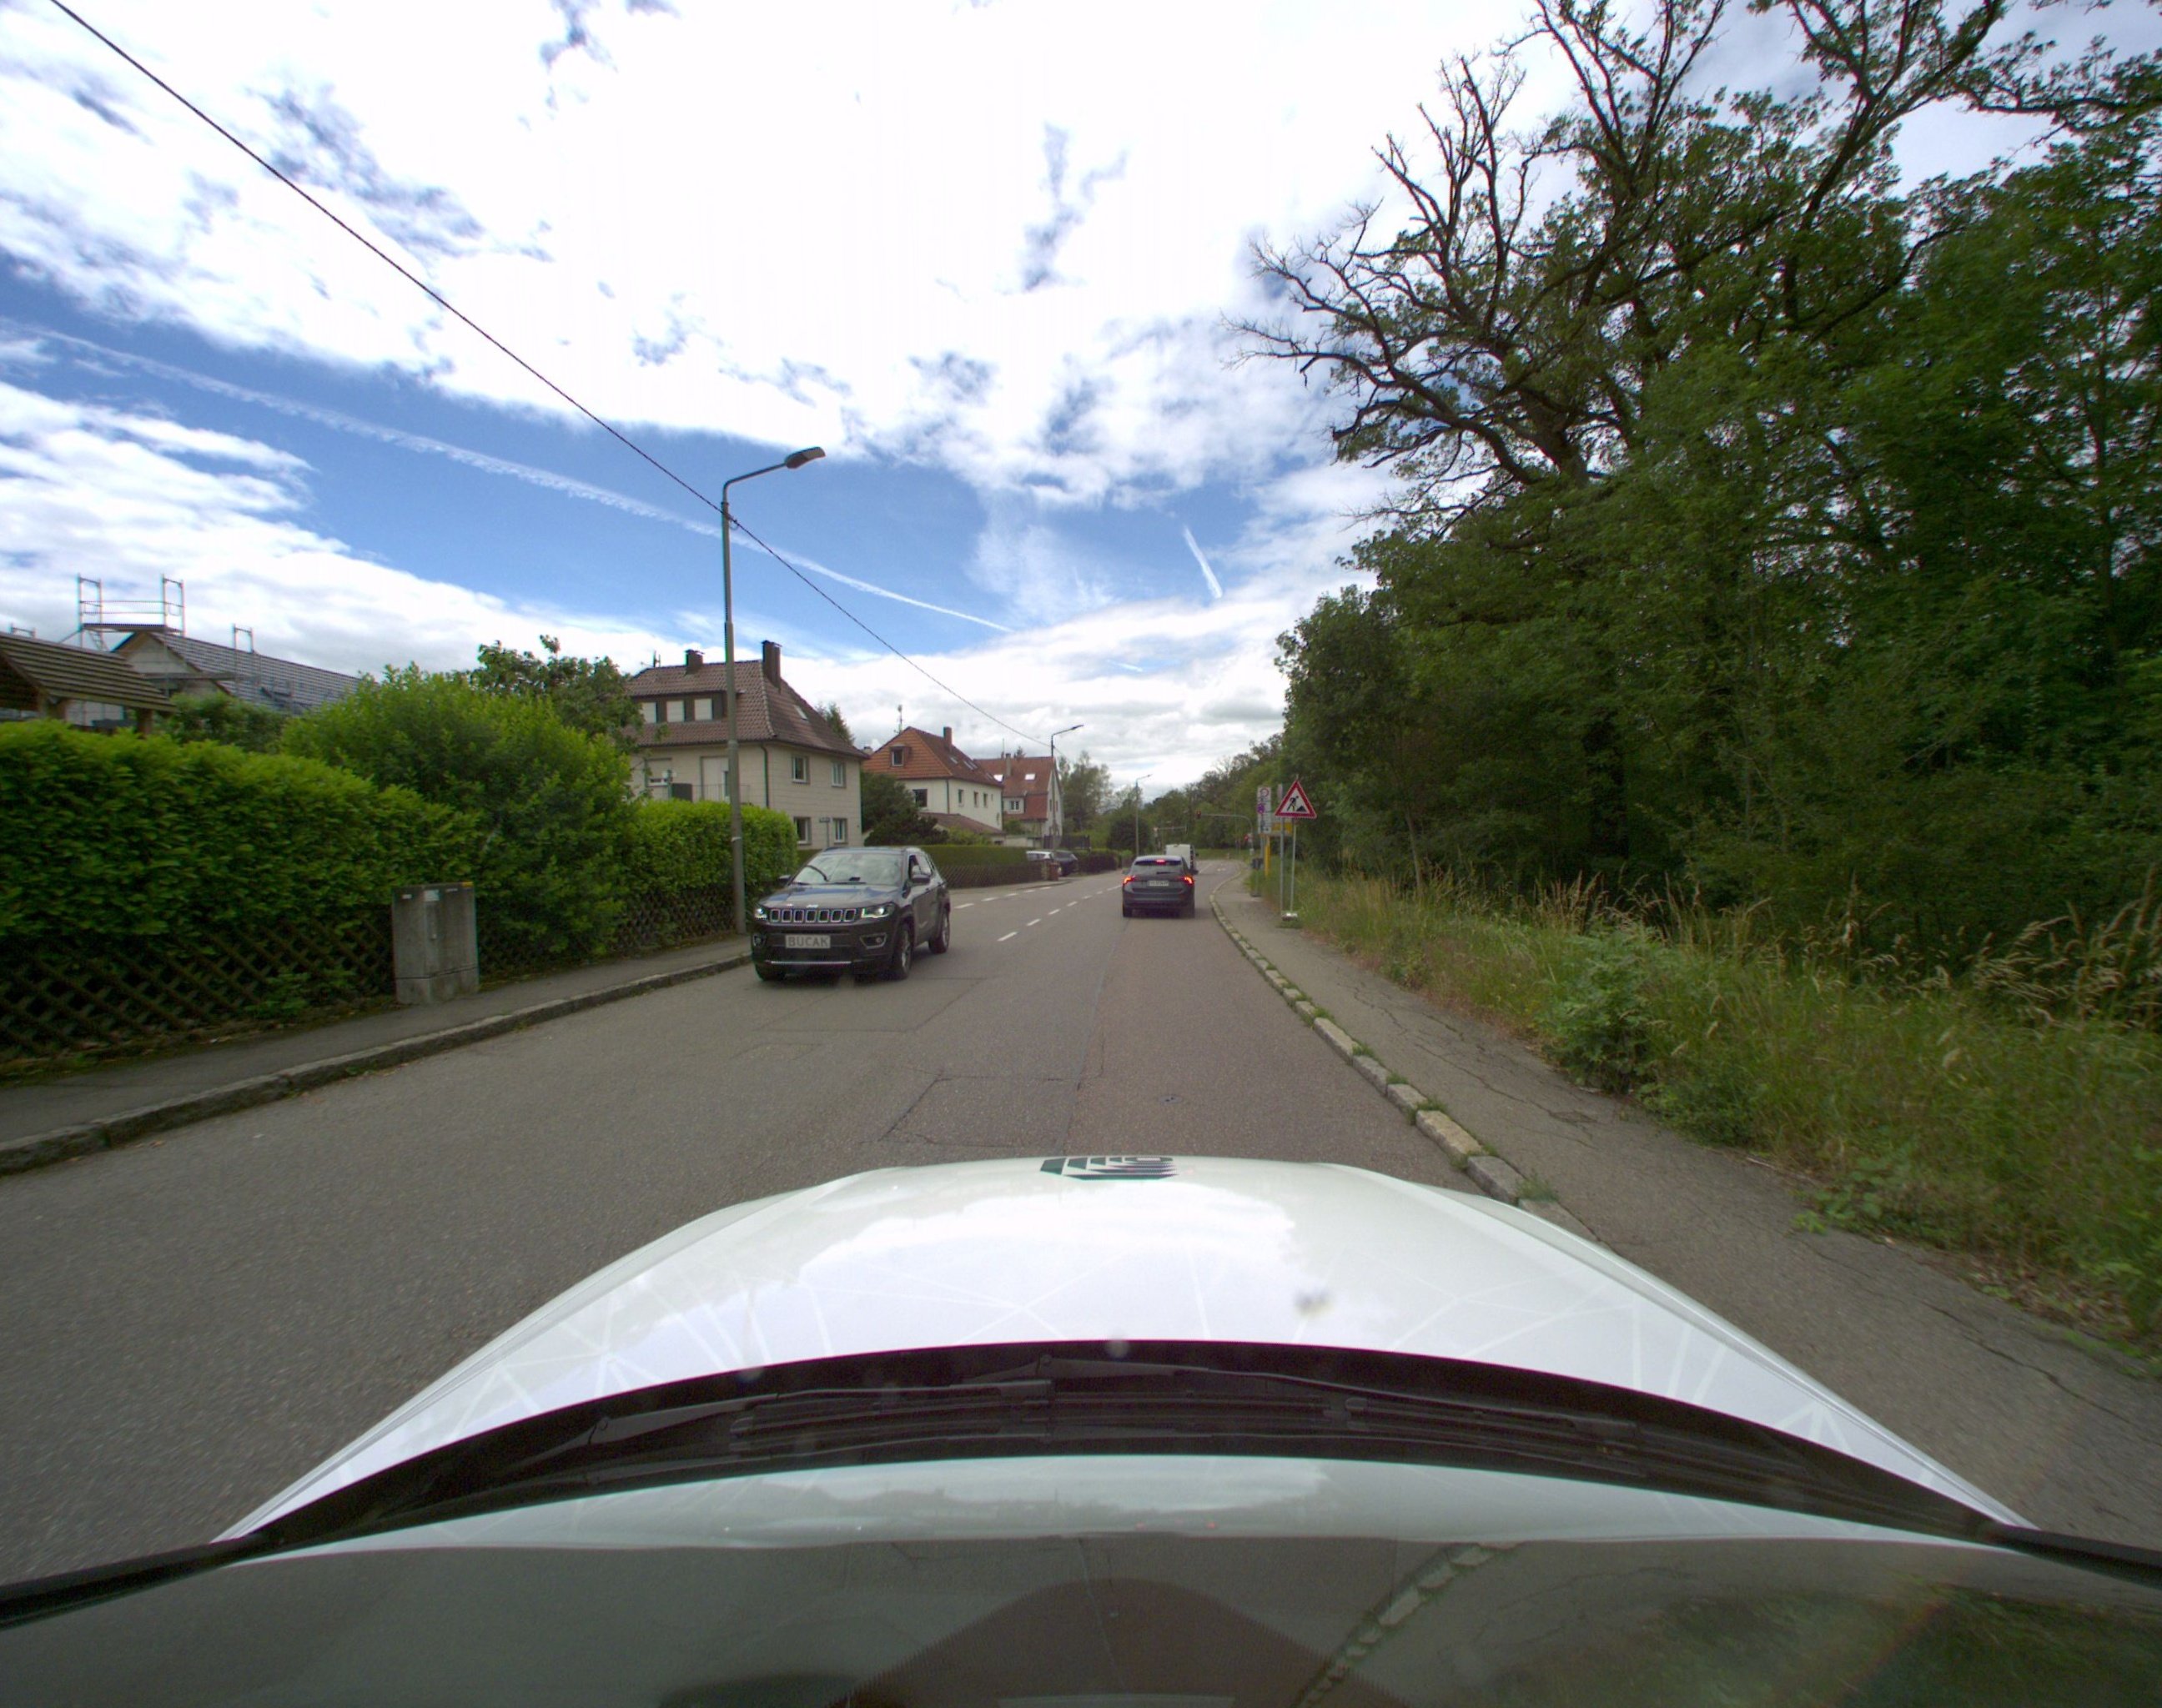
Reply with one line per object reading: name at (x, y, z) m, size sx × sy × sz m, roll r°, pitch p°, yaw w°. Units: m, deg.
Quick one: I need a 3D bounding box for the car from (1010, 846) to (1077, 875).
car at (-2.317, 0.397, 51.103) m, size 3.972 × 1.706 × 1.917 m, roll -1°, pitch 0°, yaw 2°

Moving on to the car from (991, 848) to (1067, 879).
car at (-2.916, 0.530, 46.203) m, size 3.964 × 1.618 × 2.005 m, roll -1°, pitch 0°, yaw 8°

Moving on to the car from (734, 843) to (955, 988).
car at (-2.963, 0.655, 11.231) m, size 1.828 × 1.597 × 4.322 m, roll -1°, pitch 1°, yaw -1°

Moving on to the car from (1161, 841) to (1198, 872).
car at (6.358, 0.174, 53.098) m, size 2.063 × 1.922 × 4.927 m, roll -1°, pitch 0°, yaw 3°

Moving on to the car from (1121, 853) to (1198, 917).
car at (2.048, 0.710, 20.763) m, size 1.719 × 1.439 × 4.332 m, roll -1°, pitch 0°, yaw 7°

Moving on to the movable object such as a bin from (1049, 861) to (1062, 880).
movable object such as a bin at (-1.314, 0.862, 42.615) m, size 0.596 × 0.951 × 0.580 m, roll -1°, pitch 0°, yaw 6°
